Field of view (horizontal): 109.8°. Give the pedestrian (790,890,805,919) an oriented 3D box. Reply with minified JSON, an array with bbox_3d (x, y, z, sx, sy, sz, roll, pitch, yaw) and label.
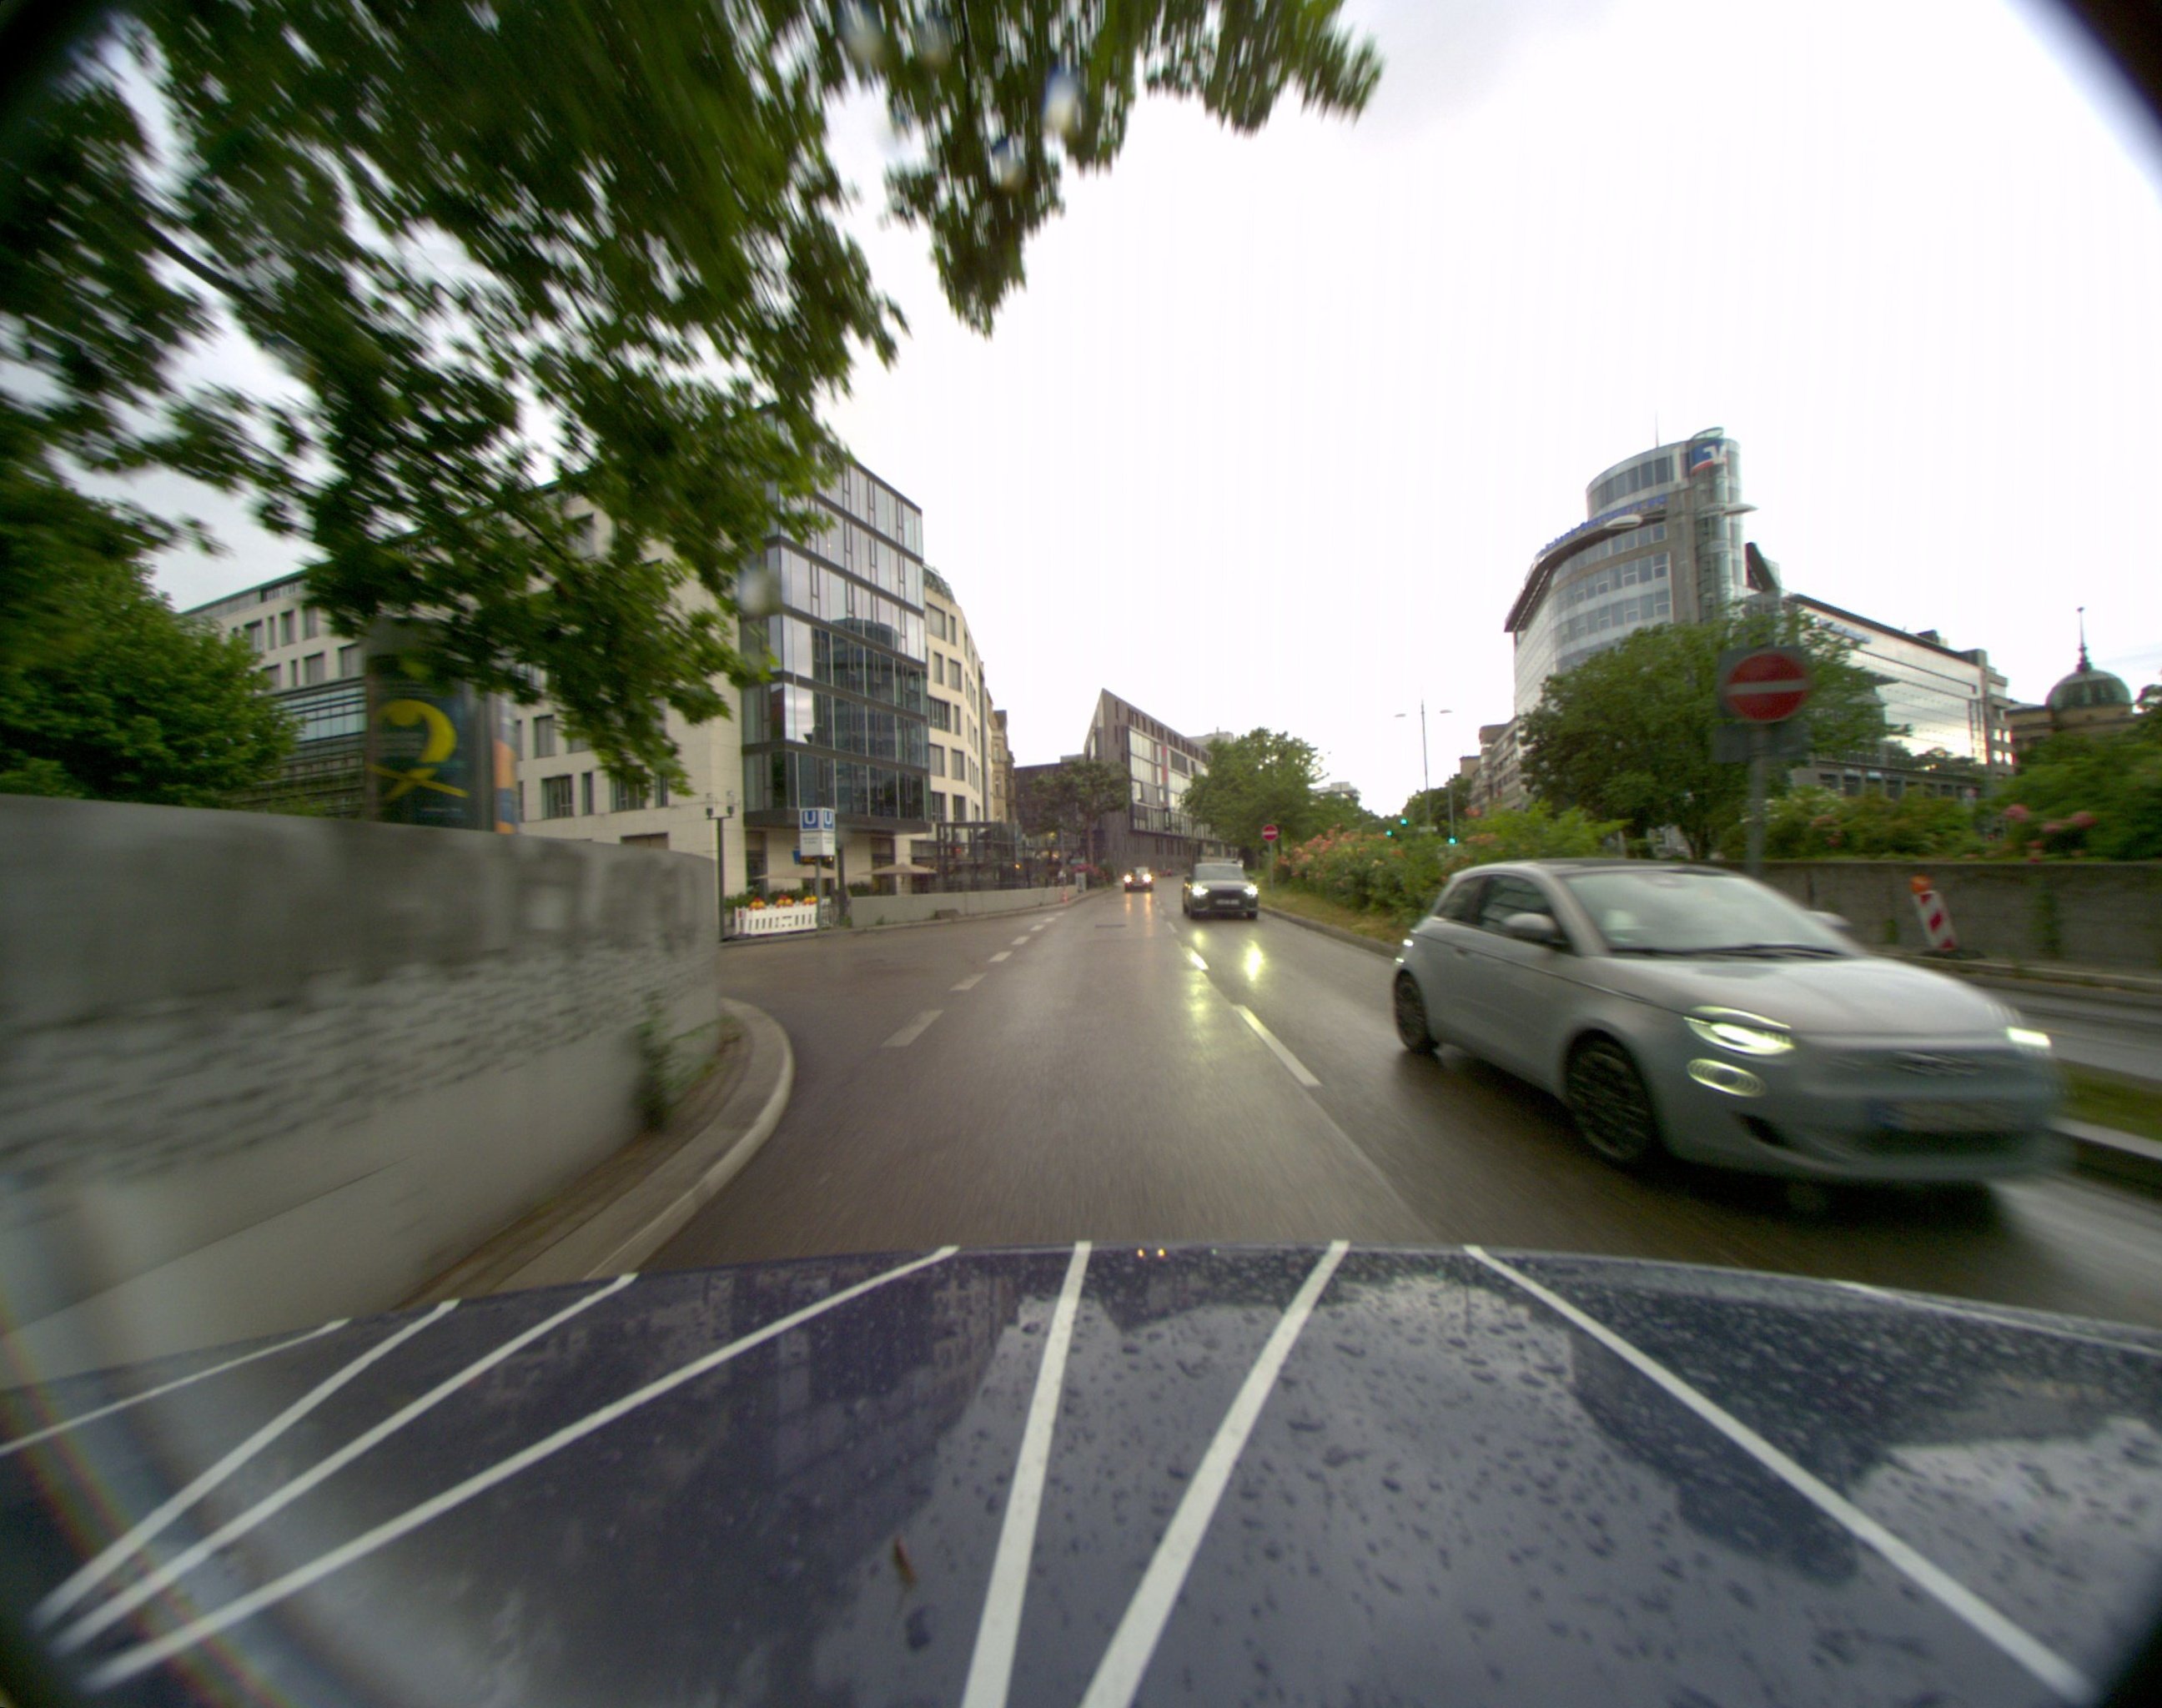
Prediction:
[{"bbox_3d":[-14.070,2.489,37.766,0.435,1.395,0.479,-2,1,22],"label":"pedestrian"}]

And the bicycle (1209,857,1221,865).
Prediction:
[{"bbox_3d":[20.765,1.116,117.653,1.732,1.133,0.690,-2,0,18],"label":"bicycle"}]

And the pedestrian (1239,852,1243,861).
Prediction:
[{"bbox_3d":[35.573,0.528,169.121,0.722,1.820,0.748,-1,1,22],"label":"pedestrian"}]

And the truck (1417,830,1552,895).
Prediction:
[{"bbox_3d":[18.059,0.363,34.775,3.372,2.495,8.484,-2,0,13],"label":"truck"}]

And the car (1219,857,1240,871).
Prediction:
[{"bbox_3d":[17.862,1.186,91.271,1.796,1.501,4.506,-3,0,20],"label":"car"}]

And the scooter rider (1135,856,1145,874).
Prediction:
[{"bbox_3d":[6.800,1.242,87.158,0.778,2.009,0.926,-2,0,27],"label":"scooter rider"}]

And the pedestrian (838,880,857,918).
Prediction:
[{"bbox_3d":[-11.880,2.283,38.596,0.584,1.883,0.643,-2,1,44],"label":"pedestrian"}]

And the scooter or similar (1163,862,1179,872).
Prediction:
[{"bbox_3d":[11.638,1.690,98.308,1.794,1.236,0.597,-4,1,19],"label":"scooter or similar"}]

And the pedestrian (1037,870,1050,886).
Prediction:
[{"bbox_3d":[-3.216,2.025,64.864,0.774,1.318,0.636,-5,0,19],"label":"pedestrian"}]

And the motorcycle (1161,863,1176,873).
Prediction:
[{"bbox_3d":[11.210,1.780,97.393,1.794,1.133,0.597,-4,0,19],"label":"motorcycle"}]

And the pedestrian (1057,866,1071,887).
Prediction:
[{"bbox_3d":[-1.554,2.067,69.215,0.873,1.827,1.250,-5,0,10],"label":"pedestrian"}]

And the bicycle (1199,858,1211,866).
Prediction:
[{"bbox_3d":[18.509,1.177,113.461,1.536,1.134,0.690,-3,1,18],"label":"bicycle"}]

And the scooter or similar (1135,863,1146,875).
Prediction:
[{"bbox_3d":[6.849,1.682,87.227,0.778,1.298,1.337,-2,0,27],"label":"scooter or similar"}]

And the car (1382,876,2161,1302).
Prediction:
[{"bbox_3d":[3.291,0.924,4.562,1.594,1.482,3.505,-1,0,1],"label":"car"}]

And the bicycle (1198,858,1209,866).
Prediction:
[{"bbox_3d":[18.156,1.199,112.730,1.536,1.134,0.663,-3,1,18],"label":"bicycle"}]

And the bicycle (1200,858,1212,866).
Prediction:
[{"bbox_3d":[18.774,1.162,114.199,1.536,1.134,0.690,-3,1,18],"label":"bicycle"}]

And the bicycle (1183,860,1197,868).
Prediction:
[{"bbox_3d":[15.300,1.420,106.831,1.796,1.062,0.557,-4,0,19],"label":"bicycle"}]

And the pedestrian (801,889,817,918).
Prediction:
[{"bbox_3d":[-13.514,2.467,37.755,0.435,1.395,0.479,-2,1,22],"label":"pedestrian"}]

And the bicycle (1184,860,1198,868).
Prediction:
[{"bbox_3d":[15.590,1.406,107.550,1.796,1.062,0.557,-4,0,19],"label":"bicycle"}]

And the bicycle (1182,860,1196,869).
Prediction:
[{"bbox_3d":[15.072,1.444,106.210,1.796,1.062,0.557,-4,0,19],"label":"bicycle"}]

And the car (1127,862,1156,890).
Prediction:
[{"bbox_3d":[3.634,1.310,45.733,1.594,1.501,3.710,-3,0,4],"label":"car"}]

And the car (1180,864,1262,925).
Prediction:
[{"bbox_3d":[3.991,1.094,22.255,1.865,1.508,4.347,-3,0,5],"label":"car"}]

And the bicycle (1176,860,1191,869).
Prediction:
[{"bbox_3d":[14.121,1.487,104.648,1.796,1.101,0.671,-4,0,18],"label":"bicycle"}]
